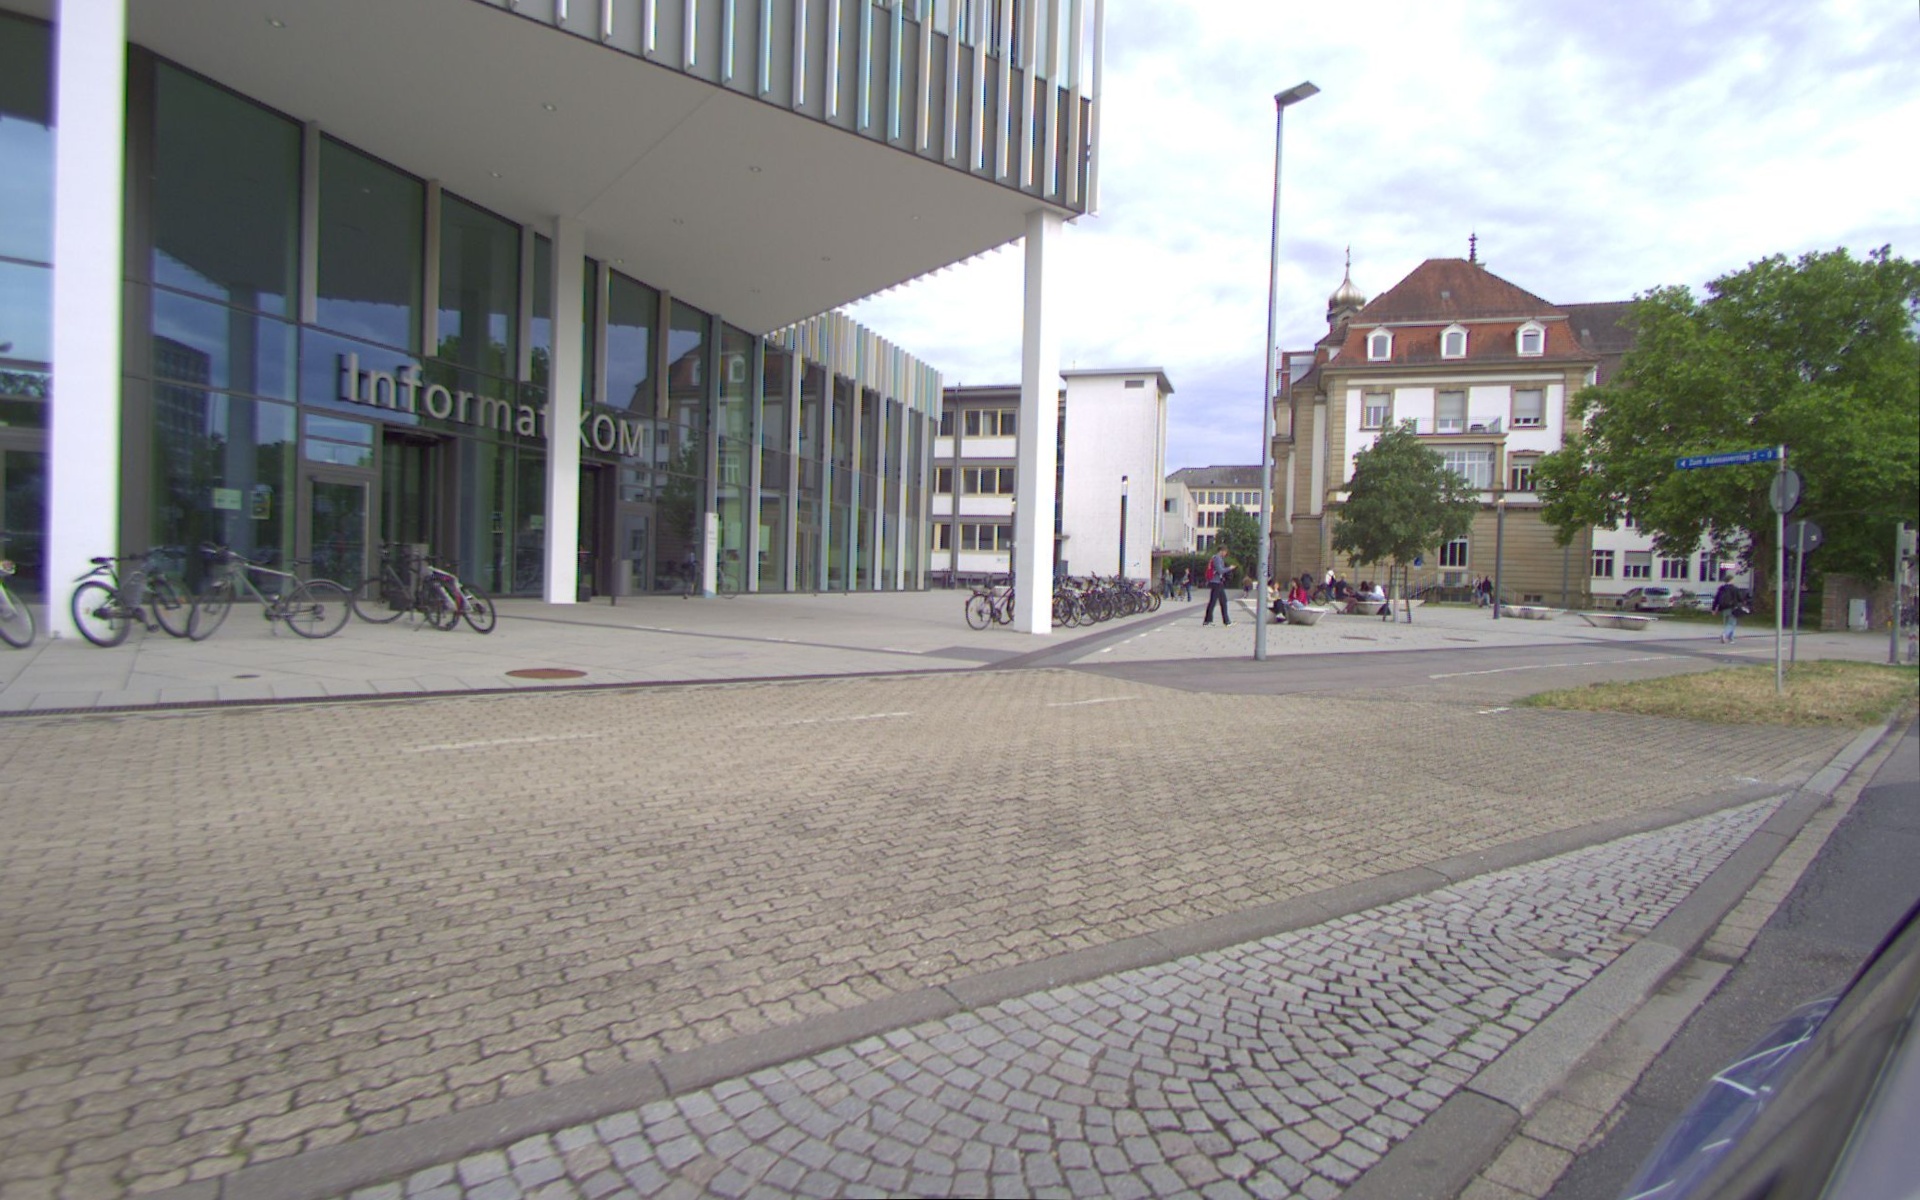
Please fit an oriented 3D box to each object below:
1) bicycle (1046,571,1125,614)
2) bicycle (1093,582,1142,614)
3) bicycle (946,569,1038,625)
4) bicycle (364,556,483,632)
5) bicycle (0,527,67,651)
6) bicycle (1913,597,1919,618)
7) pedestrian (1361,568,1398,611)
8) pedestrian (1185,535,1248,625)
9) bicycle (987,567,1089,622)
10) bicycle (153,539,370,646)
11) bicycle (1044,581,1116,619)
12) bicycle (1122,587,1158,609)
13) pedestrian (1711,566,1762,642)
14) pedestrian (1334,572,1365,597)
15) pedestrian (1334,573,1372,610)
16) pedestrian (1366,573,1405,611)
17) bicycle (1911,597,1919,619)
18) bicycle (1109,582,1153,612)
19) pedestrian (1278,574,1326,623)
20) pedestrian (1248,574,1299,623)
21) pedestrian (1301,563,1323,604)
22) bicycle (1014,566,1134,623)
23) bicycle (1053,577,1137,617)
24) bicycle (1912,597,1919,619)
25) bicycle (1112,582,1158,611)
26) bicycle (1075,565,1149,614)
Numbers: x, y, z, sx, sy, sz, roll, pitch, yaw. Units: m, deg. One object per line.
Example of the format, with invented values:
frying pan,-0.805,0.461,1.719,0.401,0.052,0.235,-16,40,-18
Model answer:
bicycle,3.194,-0.201,25.739,1.929,1.014,0.772,2,1,11
bicycle,4.771,-0.074,30.688,1.448,0.910,0.393,2,1,9
bicycle,0.647,-0.056,20.171,1.805,1.075,0.641,0,0,-34
bicycle,-7.205,-0.084,13.594,1.466,0.941,0.439,3,0,14
bicycle,-9.753,-0.114,9.413,2.163,1.154,0.637,0,5,-43
bicycle,53.740,0.434,56.329,0.382,1.158,1.925,0,0,25
pedestrian,13.847,-0.348,33.420,0.908,1.384,0.865,0,0,43
pedestrian,6.126,-0.467,24.137,1.128,2.088,1.170,0,0,35
bicycle,1.721,-0.135,22.247,2.148,1.129,0.734,2,1,10
bicycle,-7.895,-0.096,11.518,0.607,1.093,1.934,5,4,40
bicycle,3.149,-0.009,26.615,1.812,0.910,0.671,2,1,4
bicycle,6.163,-0.072,34.653,1.167,0.699,0.489,4,2,9
pedestrian,21.412,0.097,27.895,0.877,2.038,0.845,1,1,-36
pedestrian,13.194,-0.523,34.313,0.718,0.833,0.638,1,2,-22
pedestrian,13.733,-0.288,35.390,0.862,1.273,0.912,1,0,-35
pedestrian,14.526,-0.278,34.537,0.862,1.273,0.912,1,0,-35
bicycle,50.421,0.416,53.154,0.384,1.158,1.917,0,0,35
bicycle,5.469,-0.098,32.439,1.334,0.910,0.541,2,1,9
pedestrian,8.875,-0.059,26.307,0.877,1.221,0.846,2,1,-4
pedestrian,8.142,-0.045,26.303,0.827,1.208,0.896,1,1,-24
pedestrian,16.468,-0.768,47.303,0.733,1.909,0.879,3,2,34
bicycle,2.639,-0.138,23.313,2.677,1.202,0.772,2,1,11
bicycle,3.735,-0.096,28.033,2.167,1.018,0.776,3,2,23
bicycle,52.590,0.427,55.406,0.384,1.158,1.917,0,0,35
bicycle,5.999,-0.130,34.748,1.525,0.910,0.508,2,1,9
bicycle,4.481,-0.310,29.906,1.993,1.322,0.638,4,1,31
